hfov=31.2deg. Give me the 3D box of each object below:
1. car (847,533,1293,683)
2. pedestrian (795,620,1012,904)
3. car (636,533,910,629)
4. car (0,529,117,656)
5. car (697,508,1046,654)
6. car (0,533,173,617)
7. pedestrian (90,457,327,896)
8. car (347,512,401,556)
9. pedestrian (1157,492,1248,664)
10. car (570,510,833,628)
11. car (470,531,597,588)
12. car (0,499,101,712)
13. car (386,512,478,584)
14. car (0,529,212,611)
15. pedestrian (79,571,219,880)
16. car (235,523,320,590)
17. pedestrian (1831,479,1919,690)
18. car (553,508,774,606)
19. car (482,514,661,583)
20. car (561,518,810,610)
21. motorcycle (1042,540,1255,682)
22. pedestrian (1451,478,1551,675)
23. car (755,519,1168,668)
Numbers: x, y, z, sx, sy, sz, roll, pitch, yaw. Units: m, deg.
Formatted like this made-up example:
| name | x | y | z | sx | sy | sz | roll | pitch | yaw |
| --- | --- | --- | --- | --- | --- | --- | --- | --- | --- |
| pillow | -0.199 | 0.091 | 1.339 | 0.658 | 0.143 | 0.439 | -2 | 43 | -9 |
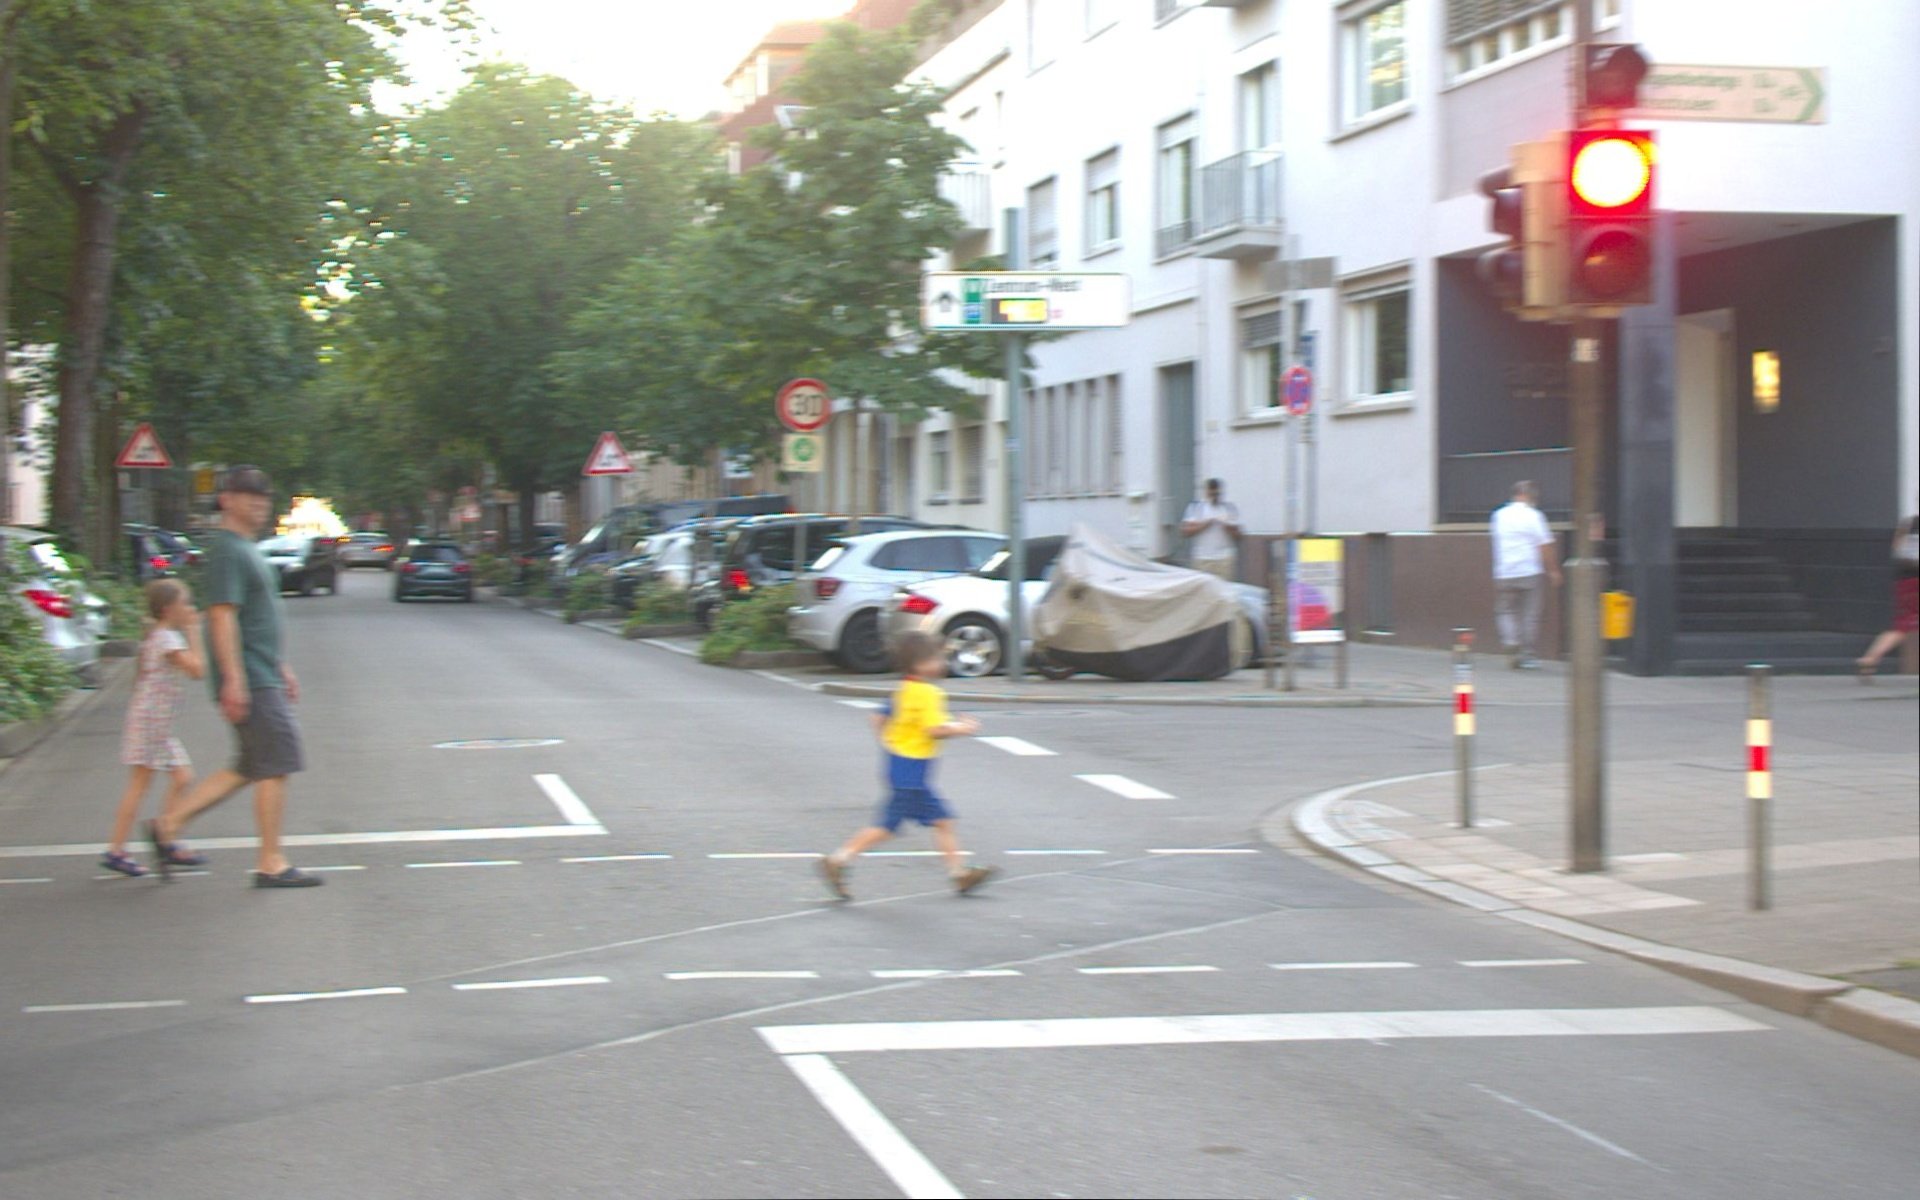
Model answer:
| name | x | y | z | sx | sy | sz | roll | pitch | yaw |
| --- | --- | --- | --- | --- | --- | --- | --- | --- | --- |
| car | 1.026 | 0.049 | 33.105 | 4.013 | 1.338 | 1.707 | -1 | 1 | -10 |
| pedestrian | -0.239 | 0.651 | 14.071 | 0.834 | 1.117 | 0.567 | 0 | 1 | -6 |
| car | -2.908 | -0.308 | 53.046 | 4.013 | 1.404 | 1.707 | -1 | 1 | -11 |
| car | -11.705 | -0.078 | 37.941 | 4.546 | 1.367 | 1.834 | -1 | 1 | -10 |
| car | -1.099 | -0.255 | 41.912 | 4.013 | 1.684 | 1.707 | -1 | 1 | -11 |
| car | -16.118 | -0.441 | 60.027 | 4.546 | 1.405 | 1.834 | -1 | 1 | -10 |
| pedestrian | -3.182 | 0.304 | 14.626 | 0.888 | 1.809 | 0.794 | -1 | 1 | -6 |
| car | -22.462 | -2.539 | 131.642 | 1.924 | 1.654 | 4.001 | -1 | 1 | -11 |
| pedestrian | 2.623 | -0.248 | 37.258 | 0.767 | 1.835 | 0.944 | 0 | 1 | -10 |
| car | -4.164 | -0.516 | 55.154 | 4.013 | 1.809 | 1.707 | -1 | 1 | -11 |
| car | -13.923 | -1.335 | 112.172 | 4.013 | 1.824 | 1.707 | 0 | 1 | -11 |
| car | -9.384 | 0.048 | 27.903 | 4.546 | 1.683 | 1.834 | -1 | 1 | -10 |
| car | -11.996 | -1.193 | 77.985 | 1.824 | 1.556 | 4.029 | 1 | 1 | -12 |
| car | -18.048 | -0.640 | 72.088 | 4.546 | 1.686 | 1.834 | 0 | 1 | -10 |
| pedestrian | -3.582 | 0.543 | 15.199 | 0.539 | 1.331 | 0.506 | 0 | 1 | -6 |
| car | -16.677 | -1.061 | 83.901 | 1.903 | 1.572 | 3.992 | 1 | 1 | -13 |
| pedestrian | 7.901 | -0.143 | 28.943 | 0.768 | 1.746 | 0.934 | 0 | 1 | -10 |
| car | -5.640 | -0.825 | 65.193 | 4.013 | 1.824 | 1.707 | 0 | 1 | -11 |
| car | -9.024 | -1.200 | 79.814 | 4.013 | 1.596 | 1.707 | 0 | 1 | -11 |
| car | -4.636 | -0.612 | 57.892 | 4.013 | 1.525 | 1.707 | 0 | 1 | -11 |
| motorcycle | 1.635 | 0.089 | 29.950 | 1.800 | 1.195 | 0.613 | -1 | 1 | -2 |
| pedestrian | 4.843 | -0.216 | 30.801 | 0.703 | 1.746 | 0.699 | 0 | 1 | -7 |
| car | -0.014 | -0.093 | 35.574 | 4.013 | 1.437 | 1.707 | -1 | 1 | -11 |
